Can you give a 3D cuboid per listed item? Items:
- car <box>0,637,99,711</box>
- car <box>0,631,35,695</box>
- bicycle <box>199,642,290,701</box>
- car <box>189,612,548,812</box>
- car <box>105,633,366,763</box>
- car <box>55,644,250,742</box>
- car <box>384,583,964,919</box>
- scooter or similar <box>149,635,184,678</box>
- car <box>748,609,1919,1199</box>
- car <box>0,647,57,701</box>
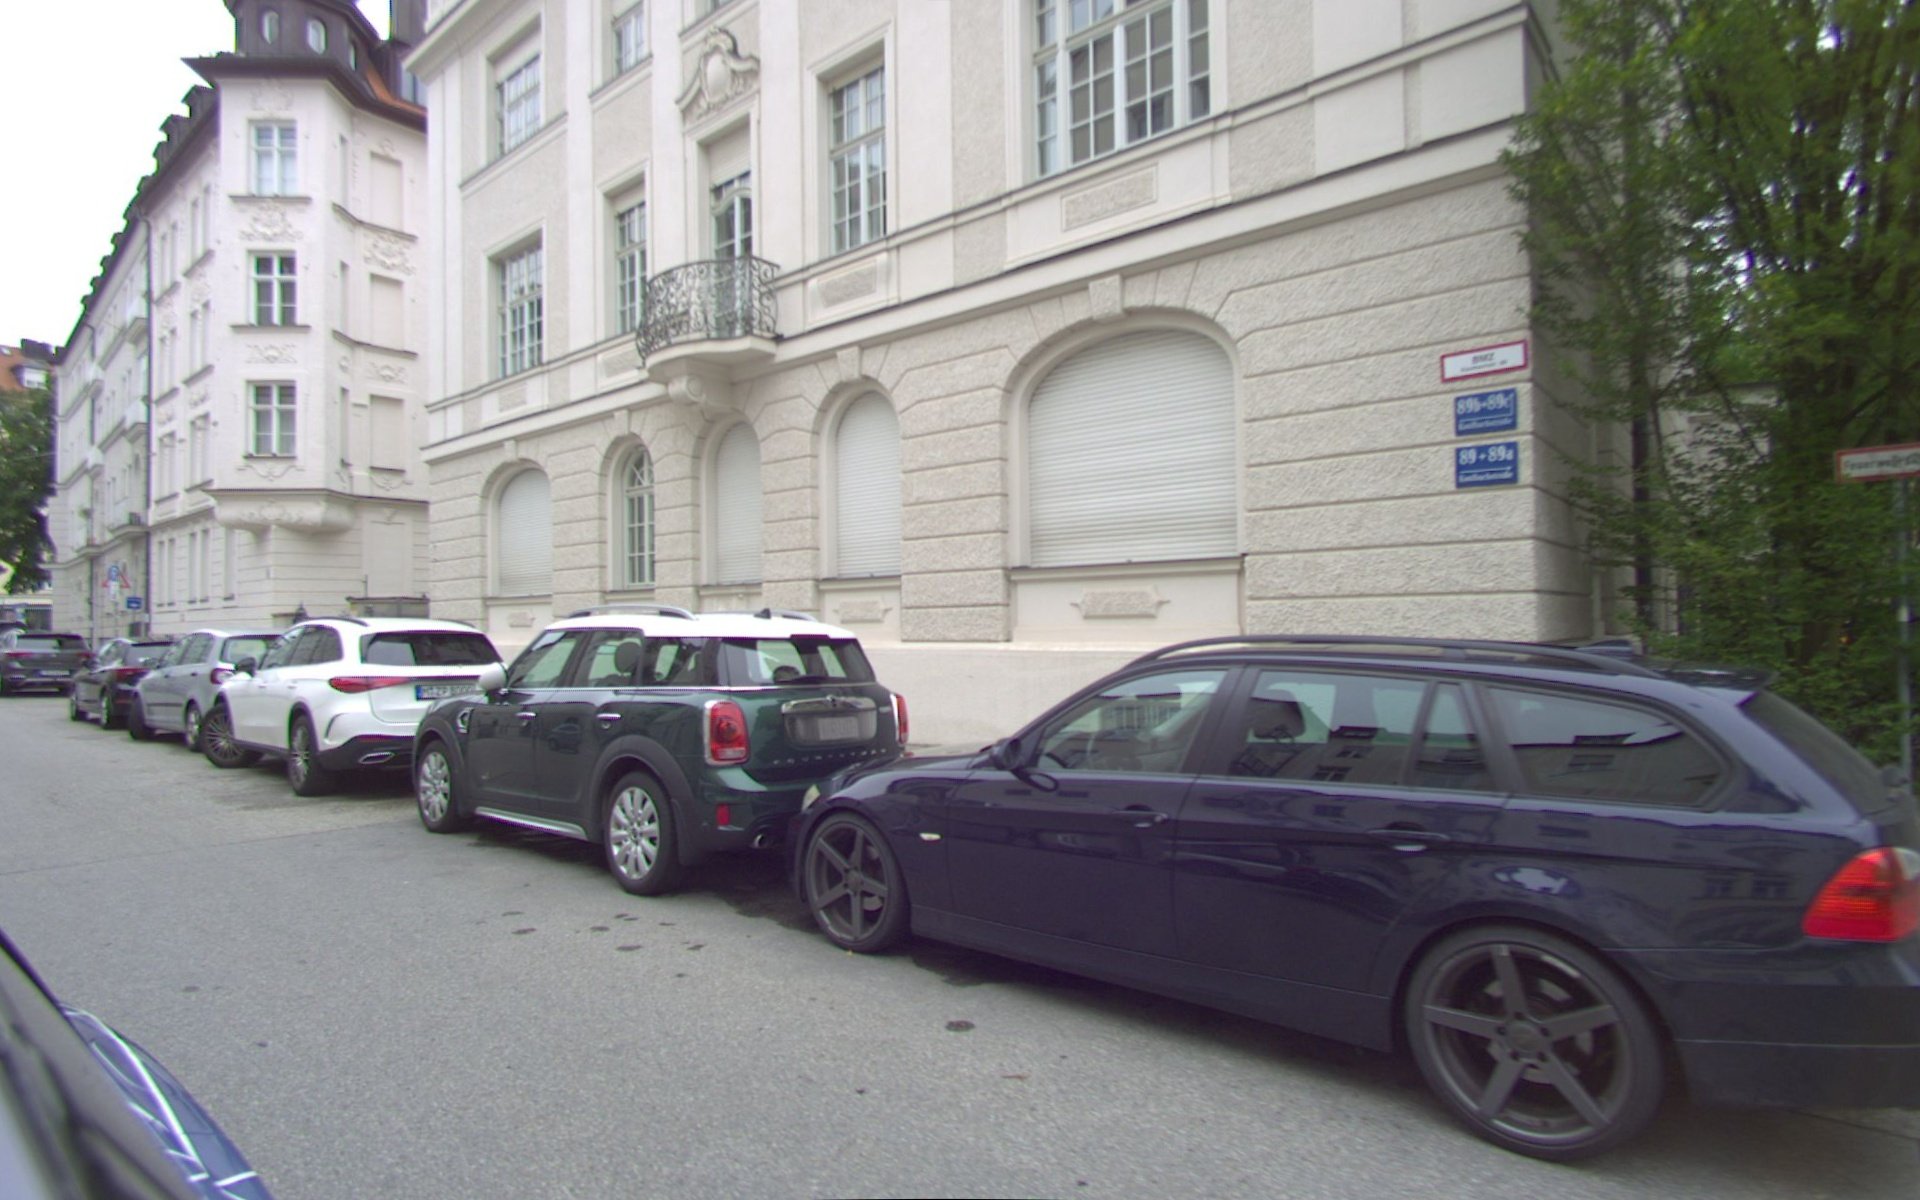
[{"bbox_3d":[-22.341,1.720,24.356,4.117,1.631,1.709,-2,-4,39],"label":"car"},{"bbox_3d":[-30.876,1.975,31.974,4.760,1.909,1.817,-3,-4,41],"label":"car"},{"bbox_3d":[-17.323,1.693,24.477,2.715,1.251,1.140,-2,2,42],"label":"bicycle"},{"bbox_3d":[-6.290,0.996,10.514,4.569,1.631,1.895,-3,-2,41],"label":"car"},{"bbox_3d":[-10.166,1.264,14.107,4.251,1.553,1.766,-2,-4,38],"label":"car"},{"bbox_3d":[-13.744,1.489,17.136,4.276,1.426,1.774,-2,-4,41],"label":"car"},{"bbox_3d":[-2.181,0.812,7.008,4.241,1.631,1.817,-3,-2,40],"label":"car"},{"bbox_3d":[-22.806,1.606,29.089,1.547,1.209,0.526,-2,-2,42],"label":"scooter or similar"},{"bbox_3d":[1.242,0.800,3.982,4.364,1.423,1.769,-3,-2,40],"label":"car"},{"bbox_3d":[-26.821,2.039,28.339,4.243,1.405,1.817,-3,-4,42],"label":"car"}]
